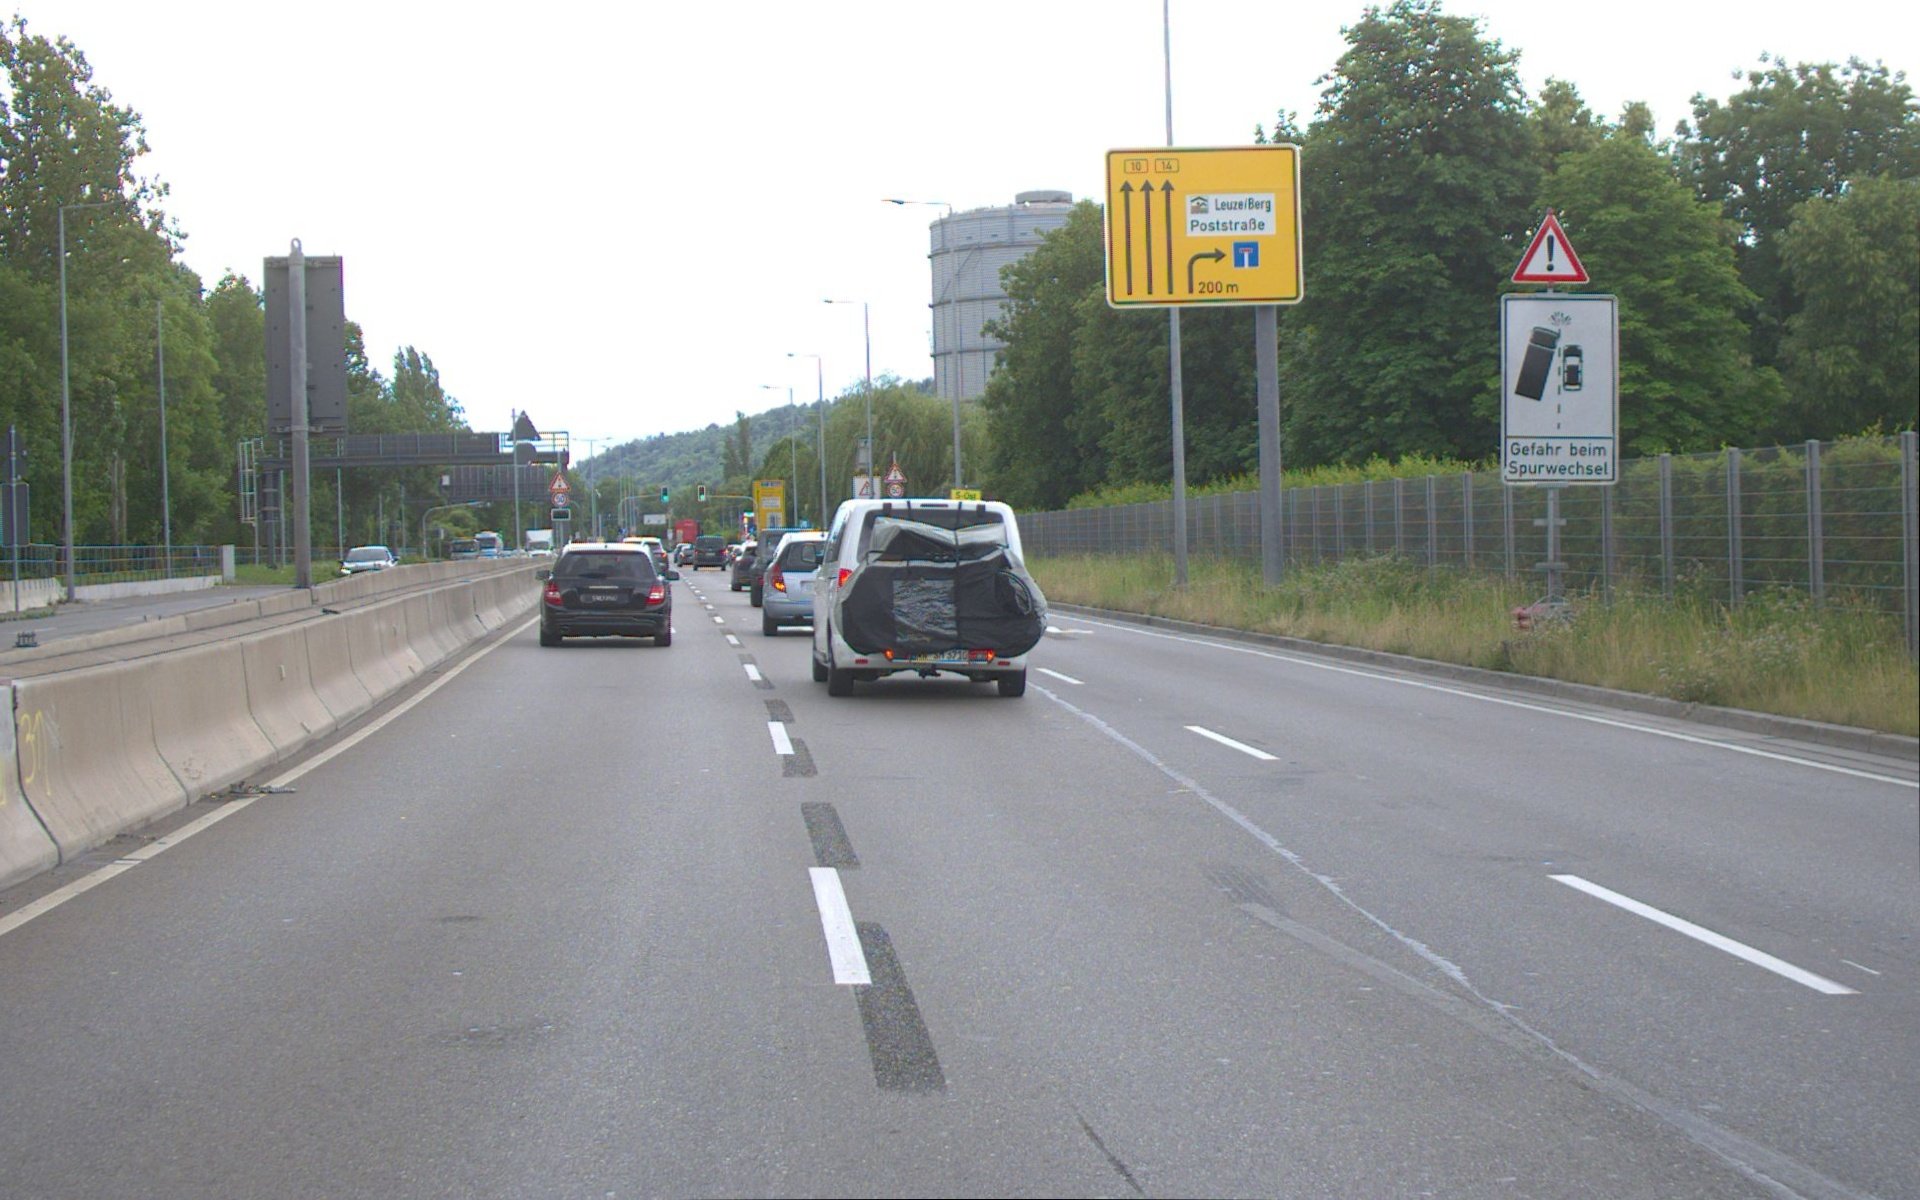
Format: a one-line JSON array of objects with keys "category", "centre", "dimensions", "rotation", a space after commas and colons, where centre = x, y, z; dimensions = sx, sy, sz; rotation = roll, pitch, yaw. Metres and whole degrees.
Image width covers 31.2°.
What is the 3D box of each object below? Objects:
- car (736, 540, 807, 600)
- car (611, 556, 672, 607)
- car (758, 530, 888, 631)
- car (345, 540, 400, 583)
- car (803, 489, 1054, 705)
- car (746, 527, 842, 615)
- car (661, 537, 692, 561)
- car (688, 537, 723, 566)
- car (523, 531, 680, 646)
[{"category": "car", "centre": [-5.475, -0.894, 99.844], "dimensions": [1.993, 1.663, 4.001], "rotation": [1, 1, -3]}, {"category": "car", "centre": [-10.749, -0.615, 116.094], "dimensions": [1.993, 1.667, 4.001], "rotation": [1, 0, -5]}, {"category": "car", "centre": [-2.136, -0.331, 53.061], "dimensions": [1.920, 1.483, 4.066], "rotation": [0, 1, -3]}, {"category": "car", "centre": [-19.177, -1.281, 112.328], "dimensions": [1.732, 1.369, 3.618], "rotation": [-1, 1, -9]}, {"category": "car", "centre": [-0.403, -0.083, 33.182], "dimensions": [1.992, 1.852, 5.642], "rotation": [1, 1, -5]}, {"category": "car", "centre": [-3.657, -0.651, 75.141], "dimensions": [1.993, 1.853, 4.001], "rotation": [-1, 1, -4]}, {"category": "car", "centre": [-19.642, -3.524, 237.832], "dimensions": [1.993, 1.648, 4.001], "rotation": [0, 1, -7]}, {"category": "car", "centre": [-14.747, -2.810, 199.117], "dimensions": [1.993, 1.648, 4.001], "rotation": [0, 1, -5]}, {"category": "car", "centre": [-4.850, -0.188, 46.953], "dimensions": [1.815, 1.429, 4.066], "rotation": [-2, 1, -2]}]
